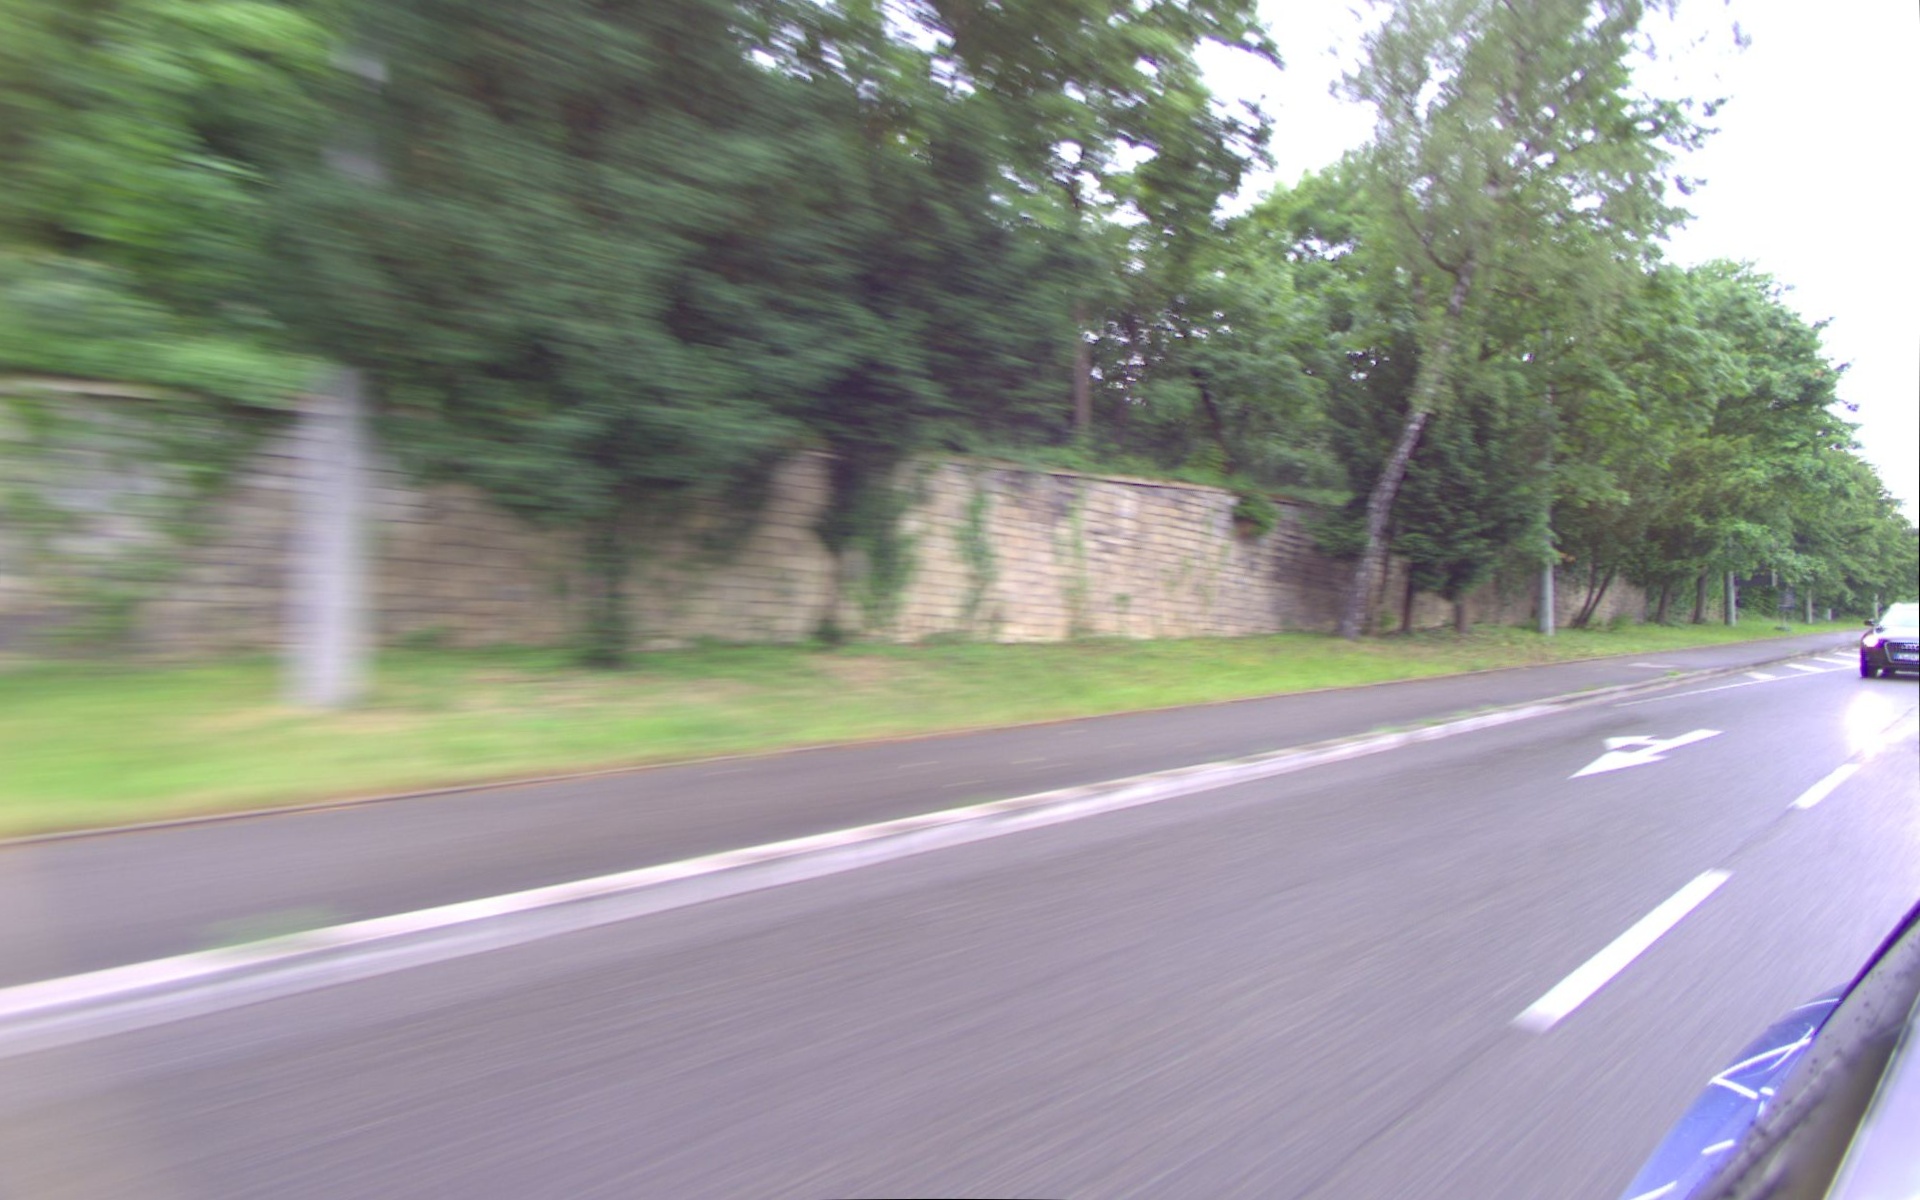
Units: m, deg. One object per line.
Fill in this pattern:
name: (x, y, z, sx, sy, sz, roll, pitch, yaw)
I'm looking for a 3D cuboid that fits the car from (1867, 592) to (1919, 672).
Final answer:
car: (21.266, 0.663, 21.901, 4.204, 1.621, 1.926, 0, 1, -41)
